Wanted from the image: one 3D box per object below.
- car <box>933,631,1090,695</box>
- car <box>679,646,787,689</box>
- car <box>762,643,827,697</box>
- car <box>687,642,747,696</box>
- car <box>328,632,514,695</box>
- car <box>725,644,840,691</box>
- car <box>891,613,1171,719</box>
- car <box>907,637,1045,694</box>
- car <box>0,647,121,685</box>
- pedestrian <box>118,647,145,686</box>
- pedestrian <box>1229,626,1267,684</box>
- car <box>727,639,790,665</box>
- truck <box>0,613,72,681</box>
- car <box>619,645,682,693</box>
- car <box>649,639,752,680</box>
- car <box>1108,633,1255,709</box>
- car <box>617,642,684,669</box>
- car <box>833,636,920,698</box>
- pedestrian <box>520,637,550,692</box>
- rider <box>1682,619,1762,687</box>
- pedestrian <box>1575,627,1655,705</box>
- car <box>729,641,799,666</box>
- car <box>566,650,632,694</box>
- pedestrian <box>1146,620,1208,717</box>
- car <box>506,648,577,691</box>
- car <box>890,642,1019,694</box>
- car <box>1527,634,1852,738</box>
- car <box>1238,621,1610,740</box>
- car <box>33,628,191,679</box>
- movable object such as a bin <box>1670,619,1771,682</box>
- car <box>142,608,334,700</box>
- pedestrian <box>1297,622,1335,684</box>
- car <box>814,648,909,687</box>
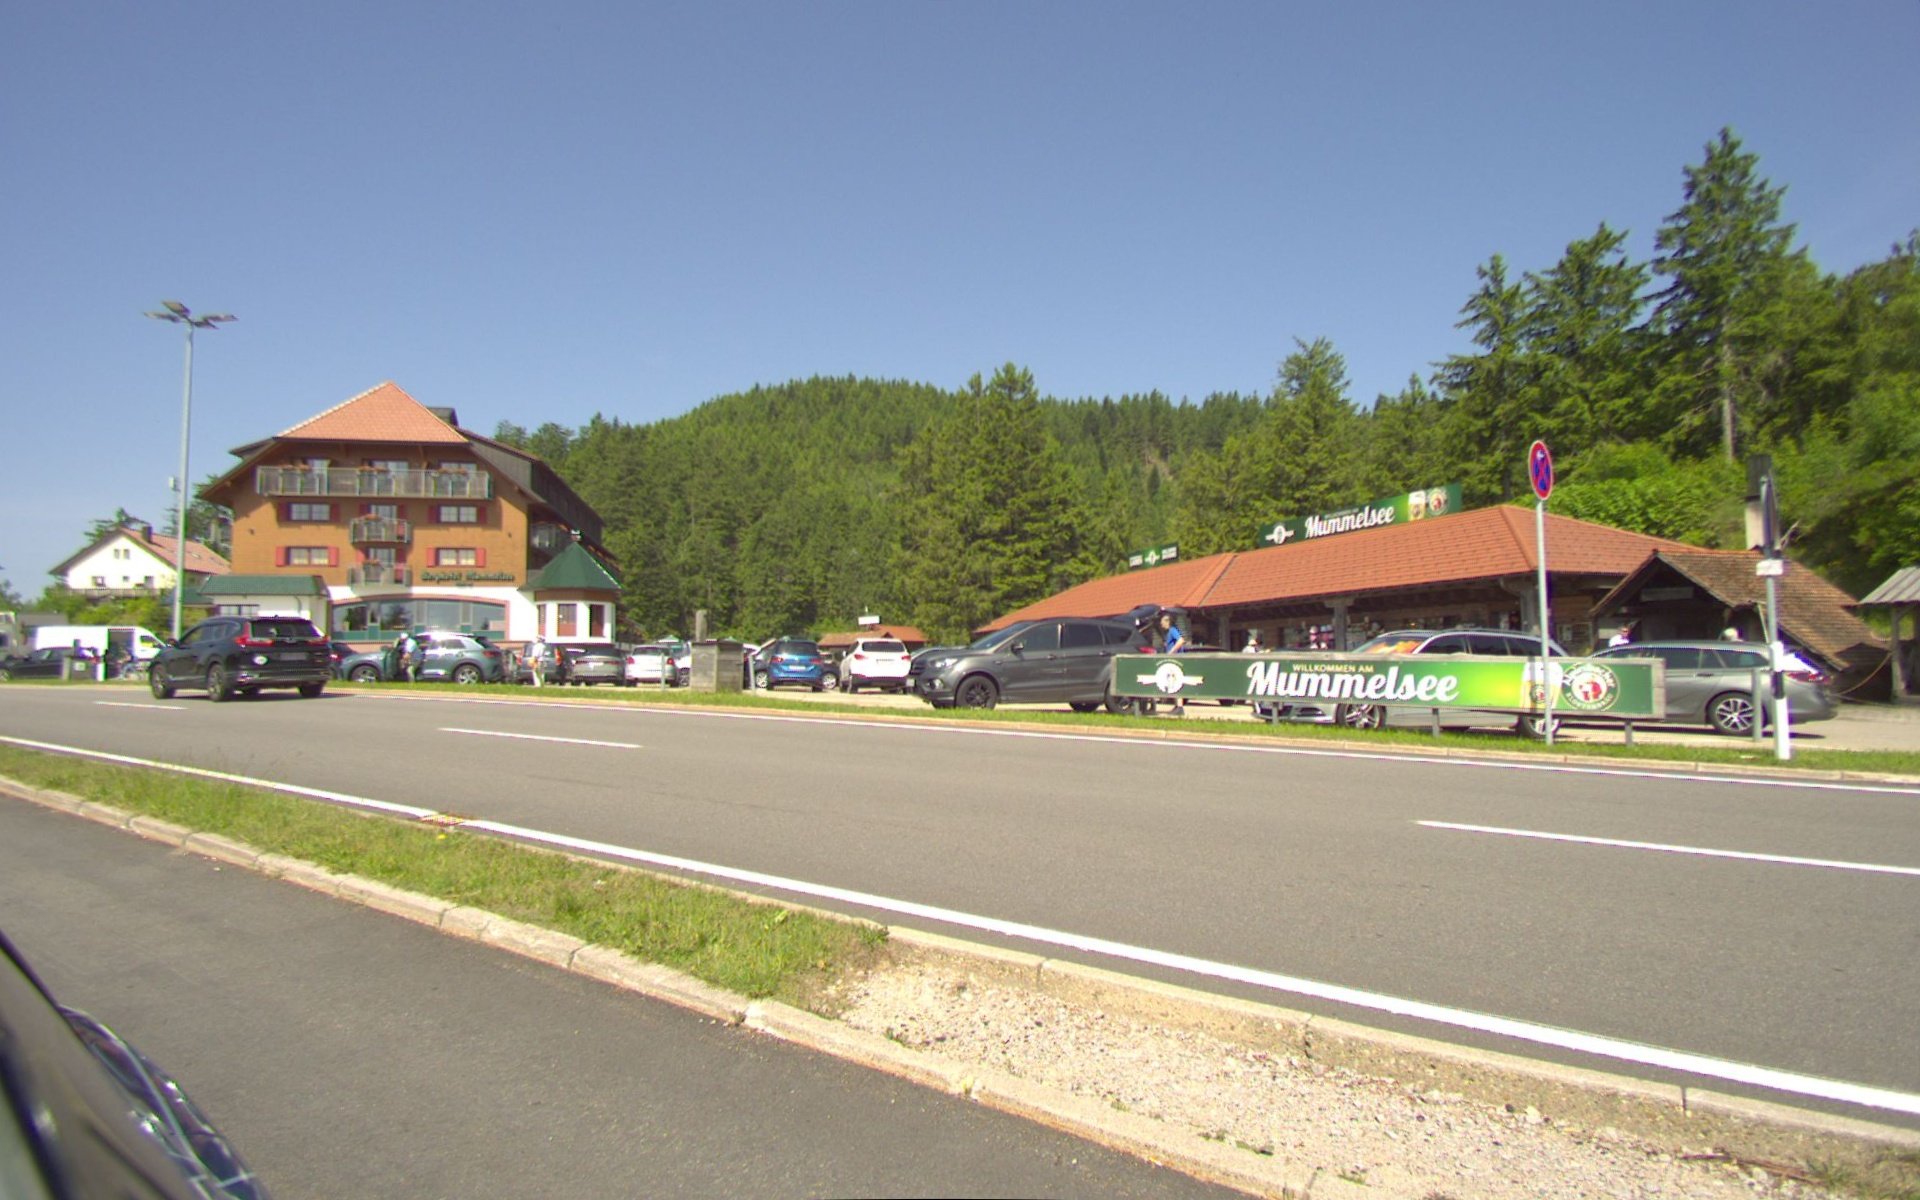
[{"bbox_3d":[1.415,1.779,28.635,4.026,1.729,1.925,1,-3,-14],"label":"car"},{"bbox_3d":[-8.883,2.624,39.537,4.025,1.641,1.829,1,-3,-15],"label":"car"},{"bbox_3d":[-5.413,2.224,32.830,1.794,1.641,4.105,1,-3,-13],"label":"car"},{"bbox_3d":[-8.011,2.252,33.524,1.794,1.641,4.105,1,-3,-13],"label":"car"},{"bbox_3d":[-14.790,1.754,28.009,4.199,1.641,1.829,1,-3,-15],"label":"car"},{"bbox_3d":[-6.583,2.484,37.417,4.025,1.641,1.829,1,-3,-15],"label":"car"},{"bbox_3d":[1.192,1.127,17.443,4.474,1.669,1.727,1,-3,-17],"label":"car"},{"bbox_3d":[0.497,2.081,32.340,4.026,1.729,1.925,1,-3,-14],"label":"car"},{"bbox_3d":[-37.633,2.729,41.904,4.024,1.539,1.830,1,-3,-19],"label":"car"},{"bbox_3d":[-40.551,3.250,49.526,0.668,1.878,0.747,-1,-3,18],"label":"pedestrian"},{"bbox_3d":[10.271,1.957,36.076,0.948,2.029,0.859,1,-2,-21],"label":"pedestrian"},{"bbox_3d":[-13.518,3.514,67.974,4.026,1.729,1.925,1,-3,-14],"label":"car"},{"bbox_3d":[-56.964,2.868,60.466,2.834,3.850,9.045,-1,-2,-21],"label":"truck"},{"bbox_3d":[-10.593,2.345,34.867,1.794,1.524,4.105,1,-3,-13],"label":"car"},{"bbox_3d":[-10.748,2.480,41.970,4.025,1.641,1.829,1,-3,-15],"label":"car"},{"bbox_3d":[5.395,1.725,25.236,1.888,1.729,4.106,1,-3,-15],"label":"car"},{"bbox_3d":[-19.967,3.587,65.395,4.026,1.729,1.925,1,-3,-14],"label":"car"},{"bbox_3d":[-2.568,1.977,30.311,1.888,1.729,4.106,1,-3,-15],"label":"car"},{"bbox_3d":[-12.912,1.939,30.735,0.733,1.637,0.685,1,-3,-28],"label":"pedestrian"},{"bbox_3d":[14.928,1.033,19.852,0.826,1.284,0.910,0,-2,-5],"label":"rider"},{"bbox_3d":[14.844,1.475,22.966,0.962,1.711,1.166,2,-3,-29],"label":"pedestrian"},{"bbox_3d":[-13.959,3.816,72.066,4.764,1.729,1.925,1,-3,-14],"label":"car"},{"bbox_3d":[-13.176,2.604,37.134,1.794,1.524,4.105,1,-3,-13],"label":"car"},{"bbox_3d":[3.806,1.191,17.801,0.733,1.648,0.849,1,-3,-18],"label":"pedestrian"},{"bbox_3d":[-15.731,2.599,38.269,1.794,1.524,4.105,1,-3,-13],"label":"car"},{"bbox_3d":[-0.196,2.330,34.843,4.024,1.729,1.926,1,-3,-17],"label":"car"},{"bbox_3d":[11.472,1.297,16.081,3.999,1.441,1.698,-2,-4,42],"label":"car"},{"bbox_3d":[6.198,1.059,13.644,4.427,1.441,1.726,1,-3,-14],"label":"car"},{"bbox_3d":[-49.271,3.090,59.014,6.855,2.812,2.671,2,-3,-40],"label":"car"},{"bbox_3d":[14.937,0.994,19.916,0.969,1.198,1.218,0,-2,-5],"label":"movable object such as a bin"},{"bbox_3d":[-14.650,1.065,20.478,4.116,1.695,1.703,-2,-3,32],"label":"car"},{"bbox_3d":[11.812,1.760,33.615,0.911,2.029,0.725,1,-2,-22],"label":"pedestrian"},{"bbox_3d":[-4.555,3.100,46.769,4.024,1.729,1.926,1,-3,-17],"label":"car"}]
